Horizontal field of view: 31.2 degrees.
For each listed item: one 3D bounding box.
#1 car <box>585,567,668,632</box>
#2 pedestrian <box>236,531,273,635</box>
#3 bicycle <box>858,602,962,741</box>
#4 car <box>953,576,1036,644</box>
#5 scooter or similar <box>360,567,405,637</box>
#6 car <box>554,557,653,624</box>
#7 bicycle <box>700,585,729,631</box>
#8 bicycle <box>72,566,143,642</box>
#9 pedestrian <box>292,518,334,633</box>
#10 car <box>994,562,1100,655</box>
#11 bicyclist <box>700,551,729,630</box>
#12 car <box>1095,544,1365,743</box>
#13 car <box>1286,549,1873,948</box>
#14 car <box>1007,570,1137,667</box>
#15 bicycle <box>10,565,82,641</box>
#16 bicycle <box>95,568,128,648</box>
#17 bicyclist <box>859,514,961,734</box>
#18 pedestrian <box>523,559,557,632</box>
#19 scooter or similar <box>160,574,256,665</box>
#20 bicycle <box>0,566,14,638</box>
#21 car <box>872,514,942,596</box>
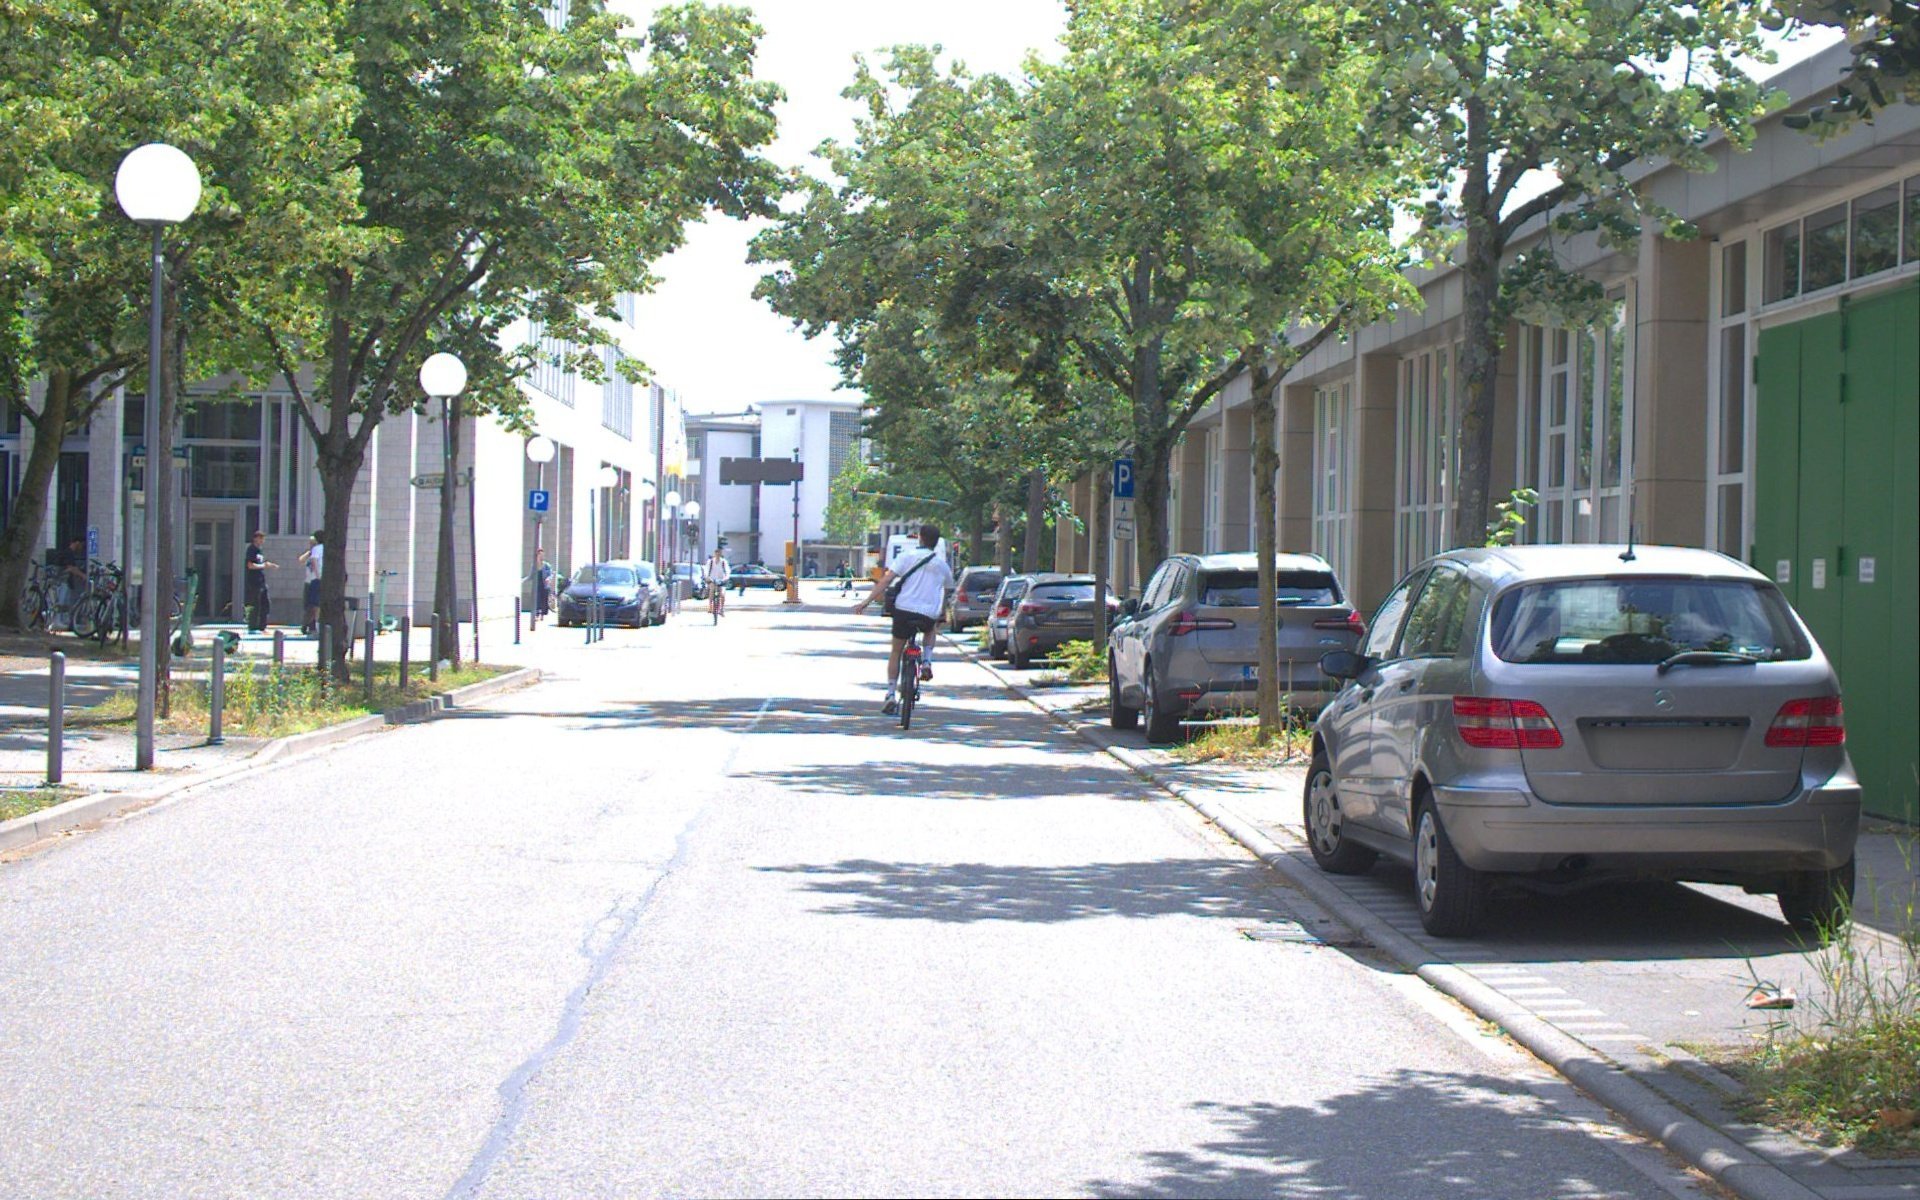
[{"bbox_3d":[-8.061,-0.014,83.368,1.631,1.480,4.178,2,0,-1],"label":"car"},{"bbox_3d":[-12.213,-0.291,59.519,0.441,1.769,0.451,2,0,-32],"label":"pedestrian"},{"bbox_3d":[-0.487,0.638,32.164,0.882,1.195,2.750,2,0,-2],"label":"bicycle"},{"bbox_3d":[0.798,0.228,82.699,1.858,1.568,4.000,0,0,-1],"label":"car"},{"bbox_3d":[-10.279,0.036,61.251,0.454,1.219,1.549,2,0,2],"label":"scooter or similar"},{"bbox_3d":[-8.053,-0.202,77.976,1.766,1.423,4.234,2,0,0],"label":"car"},{"bbox_3d":[-6.251,0.200,87.575,0.685,1.126,1.889,1,0,-4],"label":"bicycle"},{"bbox_3d":[-12.714,0.055,51.300,0.552,1.083,1.973,4,0,-2],"label":"bicycle"},{"bbox_3d":[-11.093,-0.427,58.966,0.412,1.935,0.663,3,0,-31],"label":"pedestrian"},{"bbox_3d":[1.496,0.137,60.323,1.616,1.533,3.780,2,0,-1],"label":"car"},{"bbox_3d":[-6.252,-0.250,87.534,0.711,2.007,1.019,0,0,-4],"label":"bicyclist"},{"bbox_3d":[2.364,0.386,31.195,1.822,1.658,4.584,0,0,-3],"label":"car"},{"bbox_3d":[2.654,0.577,15.696,1.704,1.568,4.141,1,0,-3],"label":"car"},{"bbox_3d":[1.740,0.270,54.742,1.780,1.471,4.462,0,0,-2],"label":"car"},{"bbox_3d":[-13.671,0.036,51.470,0.552,1.083,1.973,4,0,-2],"label":"bicycle"},{"bbox_3d":[-11.118,0.095,45.059,0.381,1.022,1.816,2,0,-14],"label":"bicycle"},{"bbox_3d":[-0.472,0.221,32.201,0.873,2.007,0.850,2,0,-1],"label":"bicyclist"},{"bbox_3d":[-9.887,-0.112,80.861,0.649,1.695,0.889,2,0,-12],"label":"pedestrian"},{"bbox_3d":[-9.939,0.262,45.481,0.339,1.172,1.325,3,0,34],"label":"scooter or similar"},{"bbox_3d":[-14.793,0.017,51.741,0.552,1.083,1.973,4,0,-2],"label":"bicycle"},{"bbox_3d":[-1.761,-1.454,112.164,2.083,2.531,4.316,3,0,-2],"label":"car"}]
